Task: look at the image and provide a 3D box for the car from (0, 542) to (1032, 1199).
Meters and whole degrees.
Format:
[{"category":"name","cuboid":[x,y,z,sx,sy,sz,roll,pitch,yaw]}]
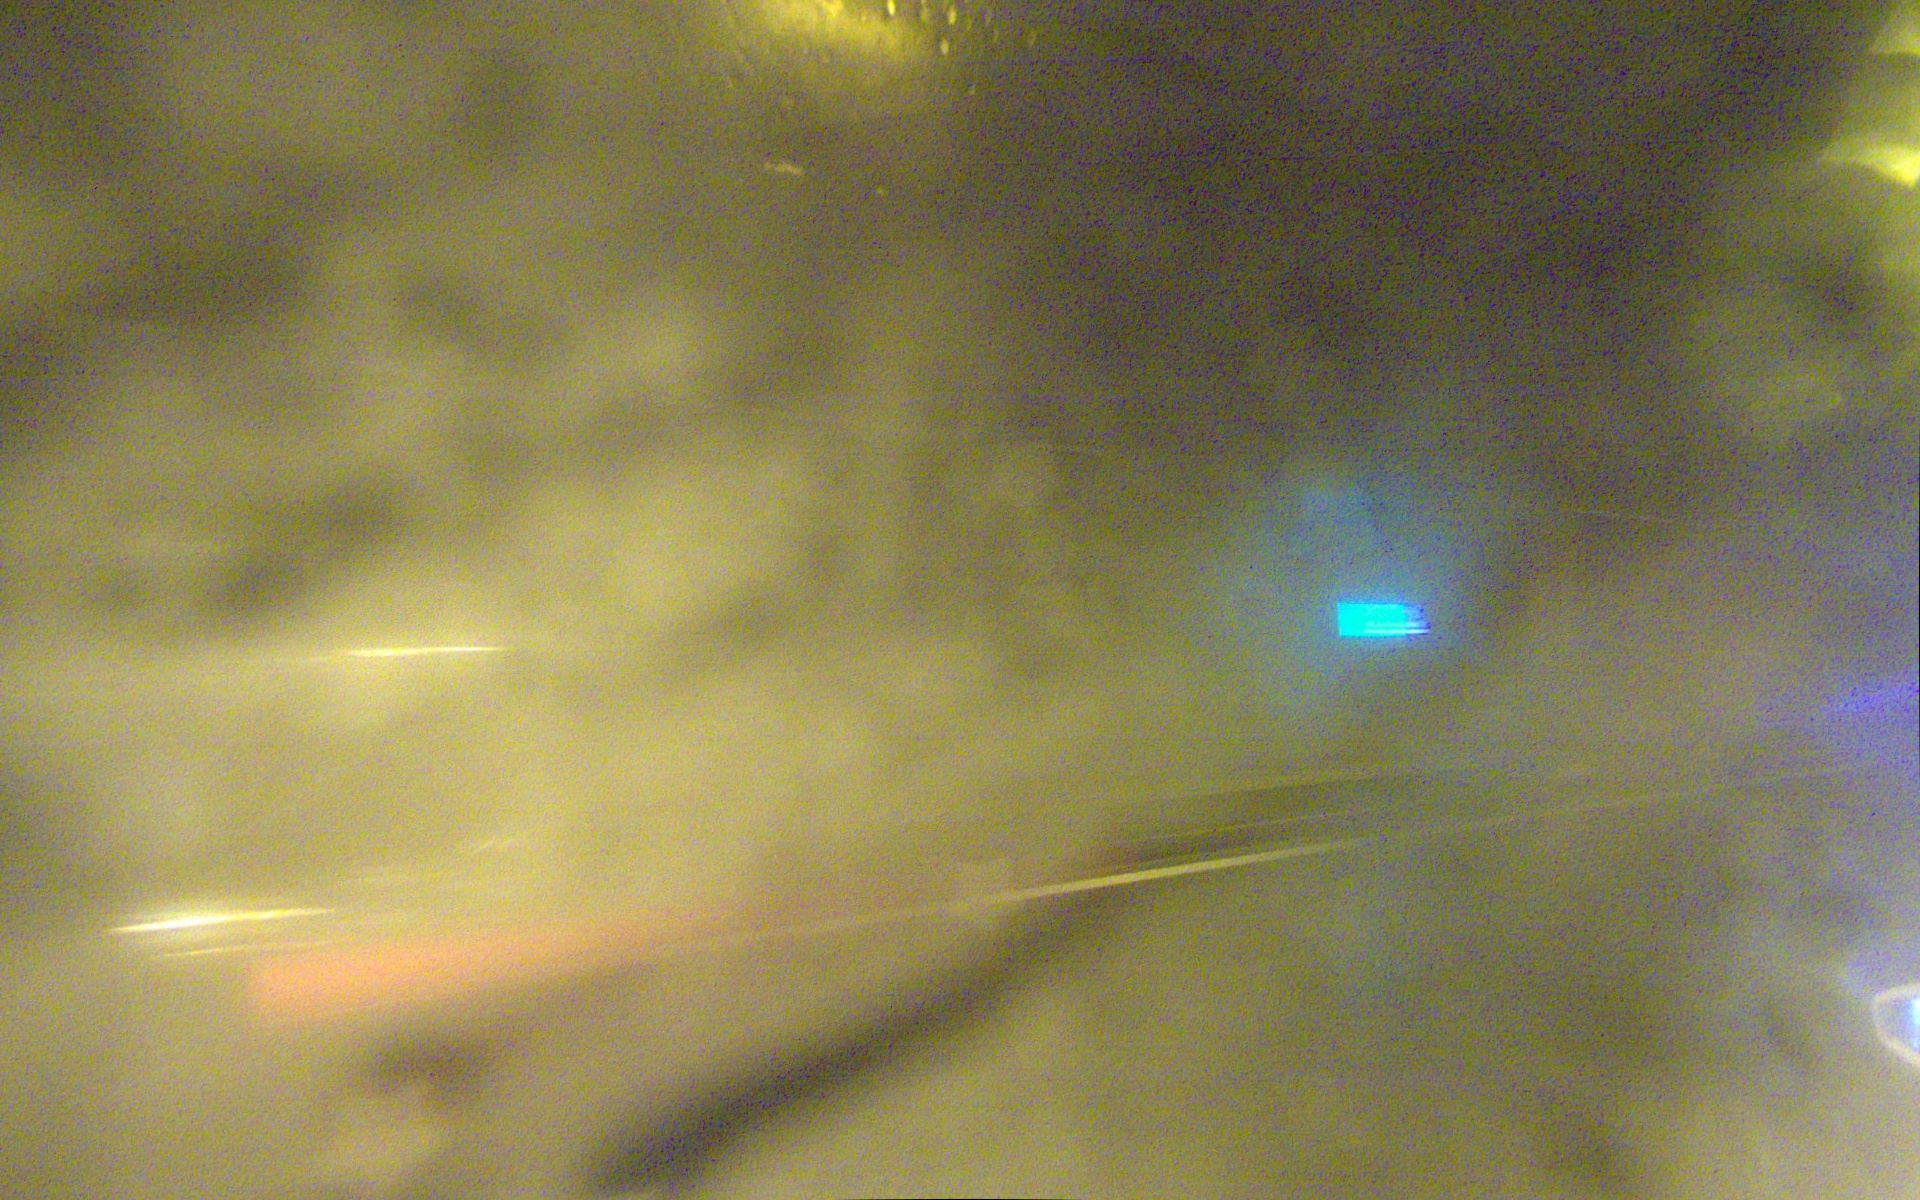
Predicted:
[{"category":"car","cuboid":[-1.805,0.712,1.880,3.602,1.555,1.628,1,-1,-30]}]
